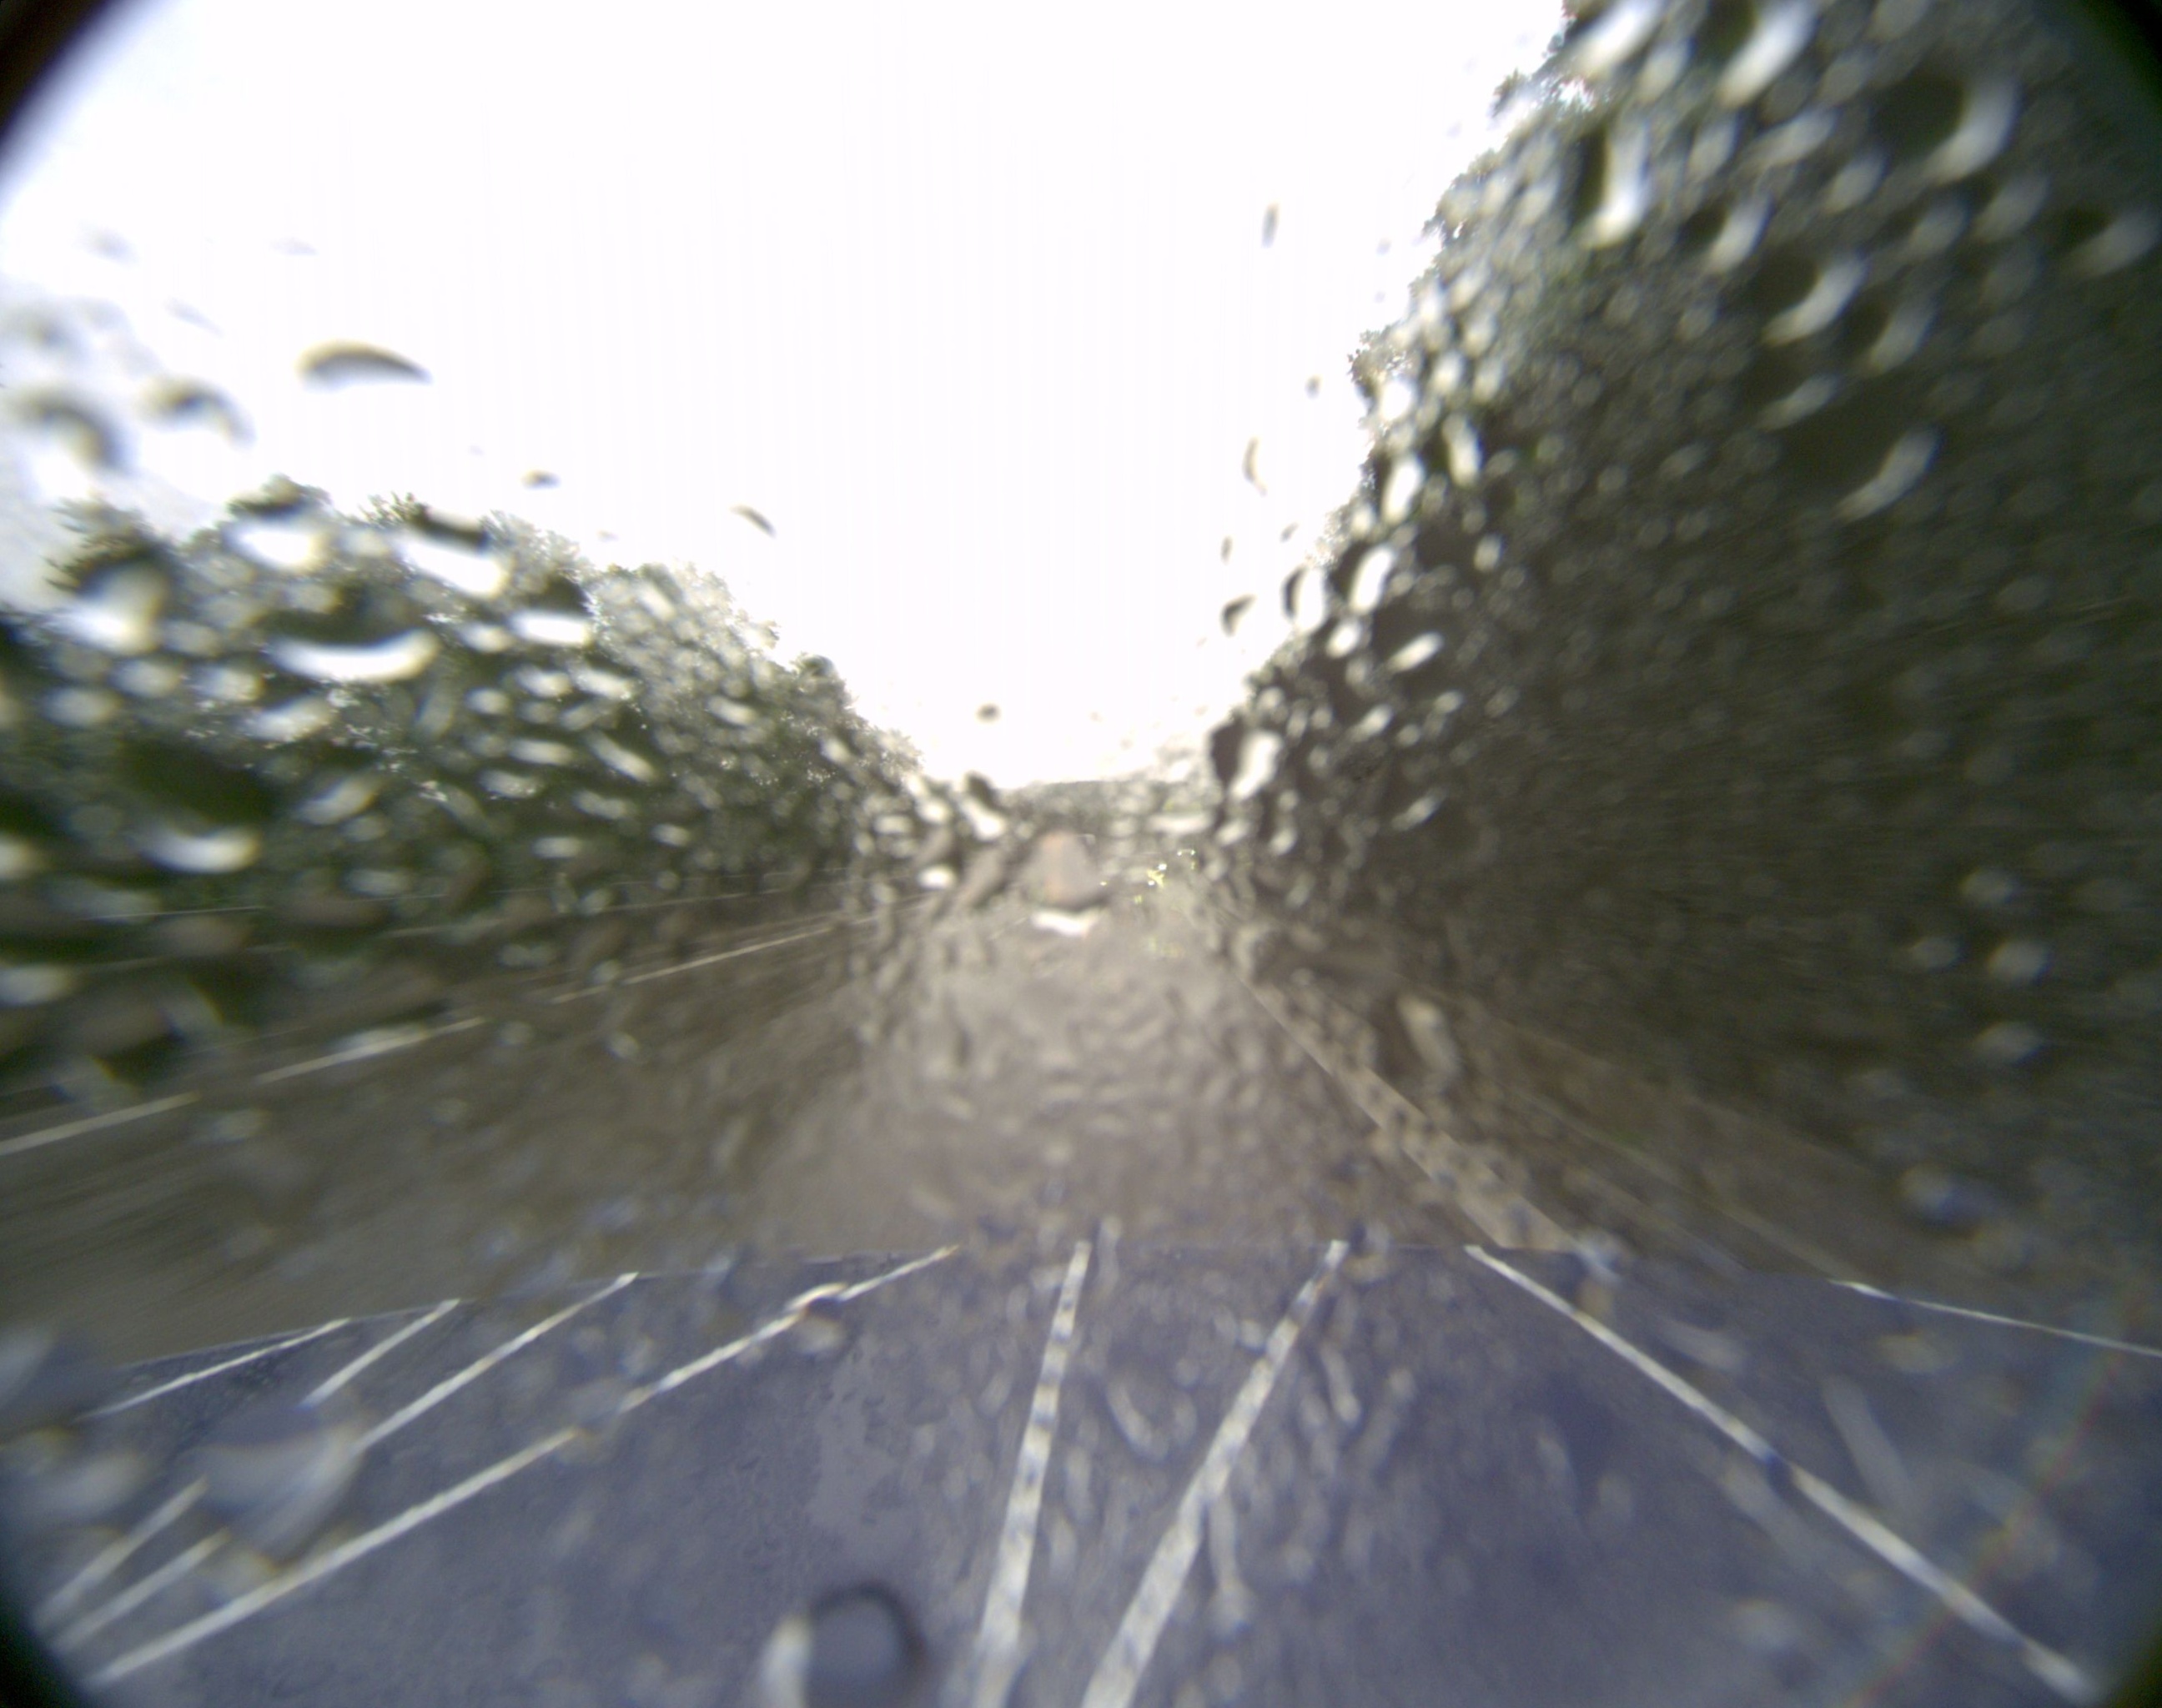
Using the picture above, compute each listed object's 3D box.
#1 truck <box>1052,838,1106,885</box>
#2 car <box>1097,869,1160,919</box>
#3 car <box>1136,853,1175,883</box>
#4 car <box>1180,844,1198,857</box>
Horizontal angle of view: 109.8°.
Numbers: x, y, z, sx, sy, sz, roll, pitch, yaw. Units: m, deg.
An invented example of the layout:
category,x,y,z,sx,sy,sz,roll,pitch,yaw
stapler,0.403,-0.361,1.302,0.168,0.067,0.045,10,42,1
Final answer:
category,x,y,z,sx,sy,sz,roll,pitch,yaw
truck,0.026,0.367,45.585,2.107,2.481,8.006,-2,1,7
car,1.630,1.243,24.871,1.826,1.375,4.002,-2,0,6
car,4.129,0.734,41.540,1.826,1.375,4.002,-4,0,9
car,13.249,-0.444,93.198,1.826,1.375,4.003,-4,0,11
